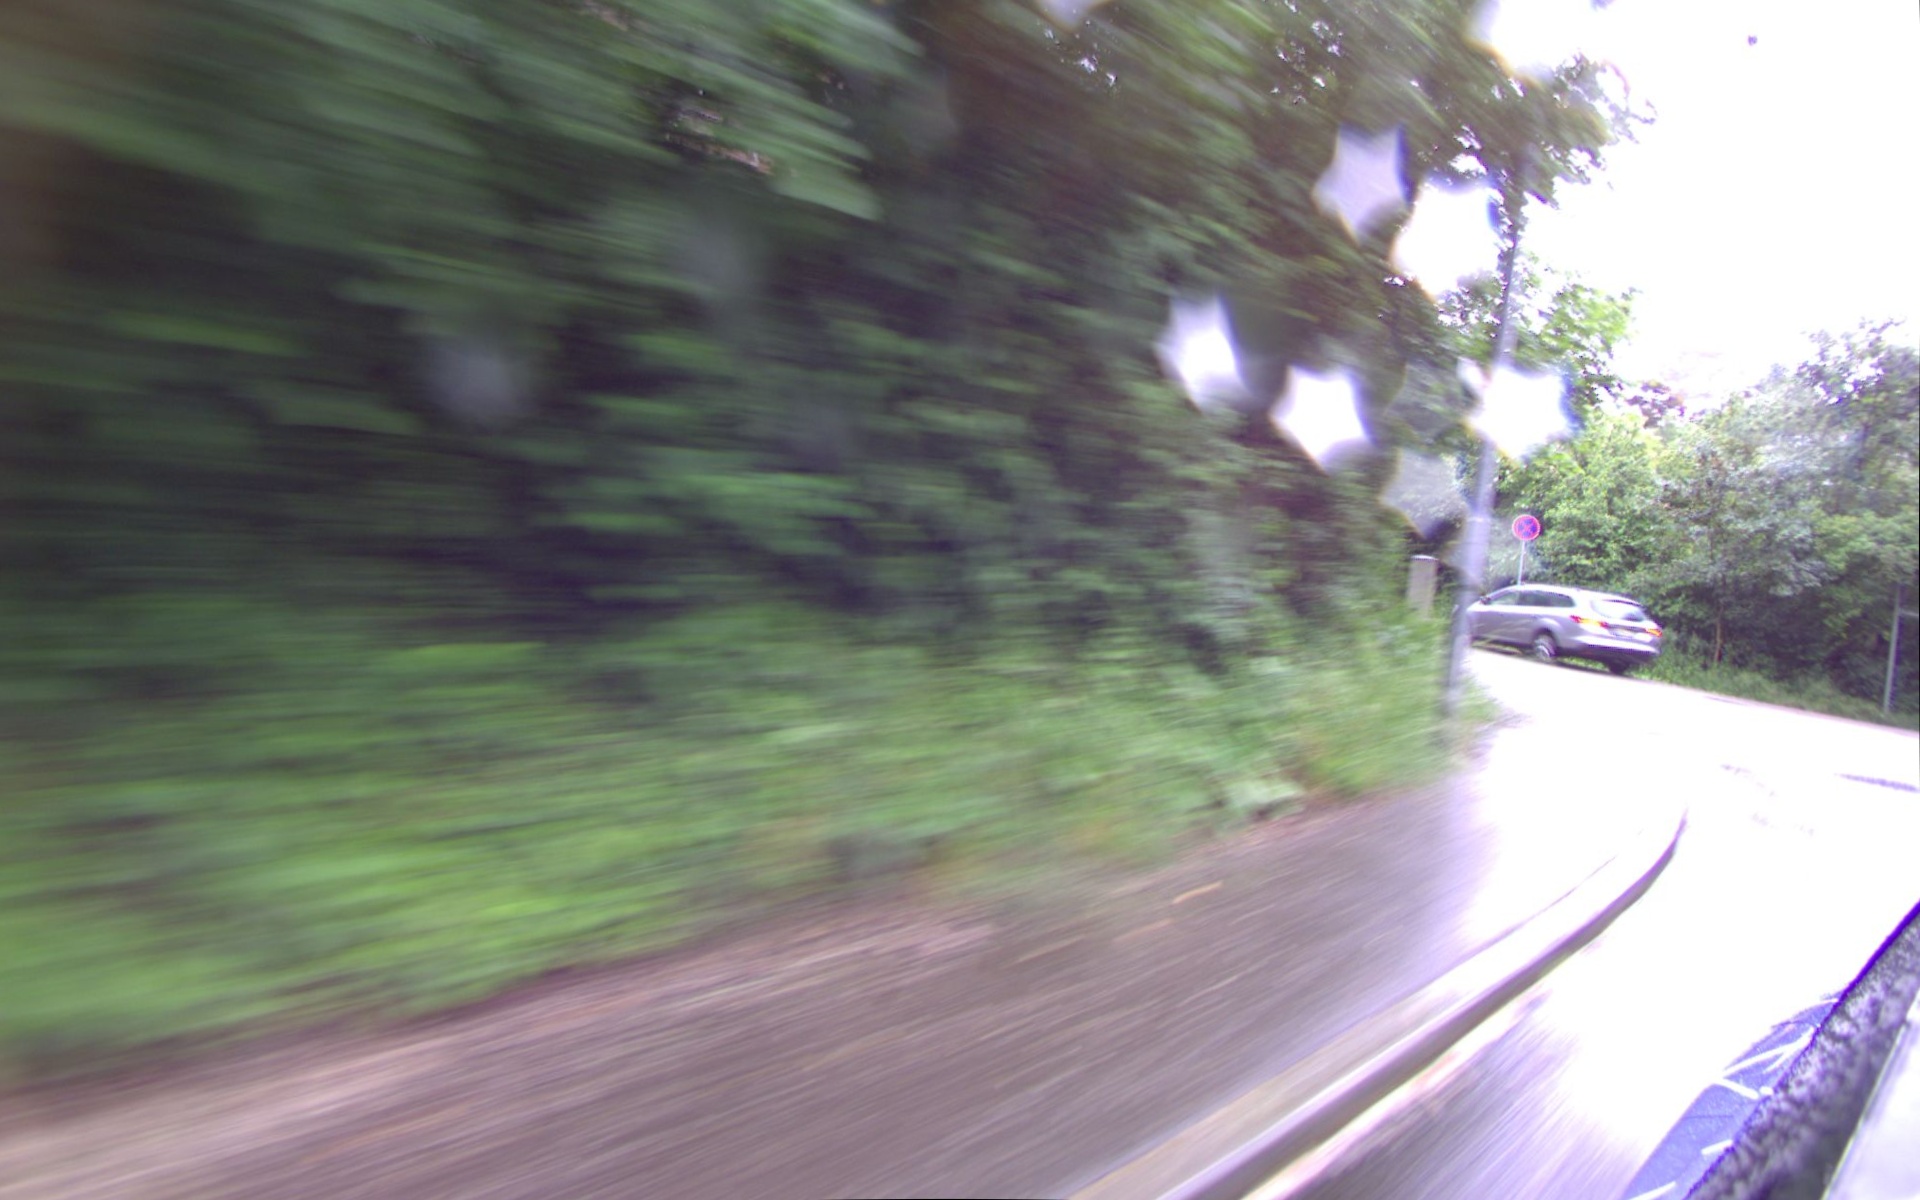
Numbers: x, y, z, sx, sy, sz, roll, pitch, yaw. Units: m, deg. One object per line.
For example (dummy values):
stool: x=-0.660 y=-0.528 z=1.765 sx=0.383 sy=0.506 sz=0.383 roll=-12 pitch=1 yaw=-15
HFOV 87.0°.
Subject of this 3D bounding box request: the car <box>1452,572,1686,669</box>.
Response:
car: x=11.819 y=0.311 z=20.018 sx=1.643 sy=1.556 sz=4.129 roll=3 pitch=2 yaw=-8
